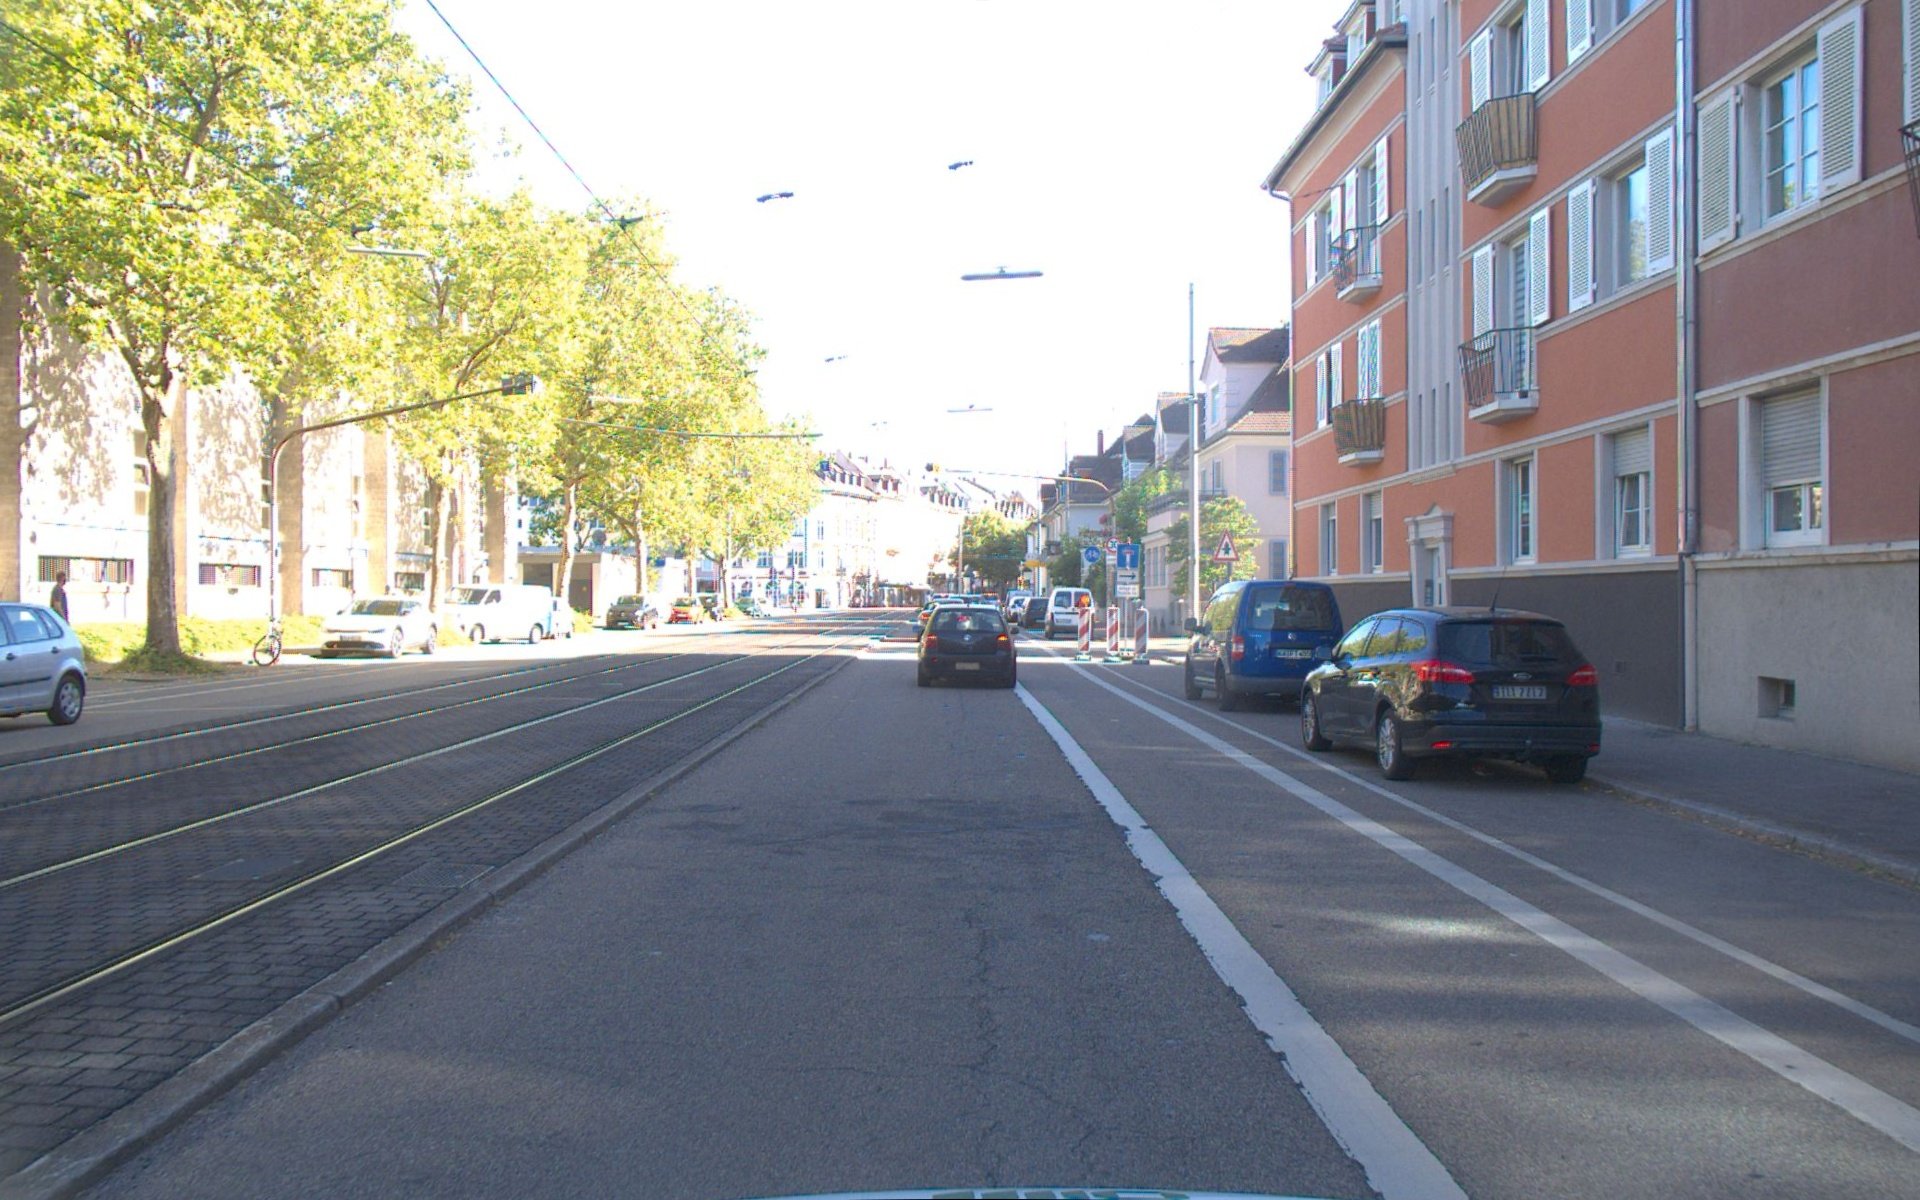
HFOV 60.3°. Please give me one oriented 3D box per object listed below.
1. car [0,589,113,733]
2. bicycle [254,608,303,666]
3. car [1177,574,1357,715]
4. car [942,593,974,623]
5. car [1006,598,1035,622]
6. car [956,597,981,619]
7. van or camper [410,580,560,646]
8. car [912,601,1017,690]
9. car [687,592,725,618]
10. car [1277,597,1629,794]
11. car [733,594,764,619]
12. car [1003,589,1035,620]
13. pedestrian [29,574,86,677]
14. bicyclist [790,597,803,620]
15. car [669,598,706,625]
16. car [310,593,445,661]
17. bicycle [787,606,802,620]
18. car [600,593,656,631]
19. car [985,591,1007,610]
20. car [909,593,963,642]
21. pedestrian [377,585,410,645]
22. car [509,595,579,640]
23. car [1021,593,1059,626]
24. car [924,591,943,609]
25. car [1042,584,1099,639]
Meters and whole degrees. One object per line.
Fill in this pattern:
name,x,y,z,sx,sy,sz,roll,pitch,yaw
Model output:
car,-11.206,0.689,18.022,1.716,1.544,4.072,-2,0,2
bicycle,-15.518,0.831,37.702,0.570,1.230,1.652,2,0,-6
car,4.394,0.586,24.280,1.668,1.842,4.270,2,0,-2
car,-0.129,0.376,84.516,1.602,1.498,3.729,0,0,-1
car,3.535,0.573,97.051,1.548,1.399,4.000,0,0,-1
car,0.570,0.521,113.481,1.602,1.498,3.729,0,0,-1
van or camper,-15.305,0.403,53.638,2.017,1.983,5.191,2,1,19
car,0.011,0.751,29.105,1.713,1.399,3.999,0,1,-2
car,-15.899,0.287,103.762,1.756,1.491,3.835,3,0,-1
car,4.458,0.773,15.795,1.719,1.538,4.760,2,0,-3
car,-15.740,0.482,123.270,1.846,1.698,3.803,2,1,-2
car,3.597,0.257,101.963,1.780,1.830,4.000,0,0,-1
pedestrian,-17.047,0.471,31.240,0.773,1.902,0.667,2,0,40
bicyclist,-13.349,0.697,134.823,0.895,1.865,0.960,2,0,-1
car,-15.517,0.667,94.436,1.538,1.560,3.571,0,-1,-1
car,-15.148,0.653,43.289,1.971,1.600,4.692,2,1,-2
bicycle,-13.485,1.071,135.024,0.895,1.102,3.202,2,1,-1
car,-15.553,0.542,77.683,1.849,1.695,4.000,0,0,-1
car,2.741,0.034,127.609,1.602,1.498,3.729,0,0,-1
car,-0.776,0.557,55.464,1.713,1.564,3.891,0,1,0
pedestrian,-17.785,0.456,51.945,0.780,1.852,0.670,2,0,-1
car,-15.333,0.615,61.099,1.542,1.533,4.090,2,1,-1
car,3.821,0.449,79.349,1.627,1.552,4.036,0,0,-1
car,-2.262,-0.021,141.912,1.603,1.498,3.729,-2,0,-1
car,3.952,0.380,59.592,1.723,1.870,3.547,2,1,-1
